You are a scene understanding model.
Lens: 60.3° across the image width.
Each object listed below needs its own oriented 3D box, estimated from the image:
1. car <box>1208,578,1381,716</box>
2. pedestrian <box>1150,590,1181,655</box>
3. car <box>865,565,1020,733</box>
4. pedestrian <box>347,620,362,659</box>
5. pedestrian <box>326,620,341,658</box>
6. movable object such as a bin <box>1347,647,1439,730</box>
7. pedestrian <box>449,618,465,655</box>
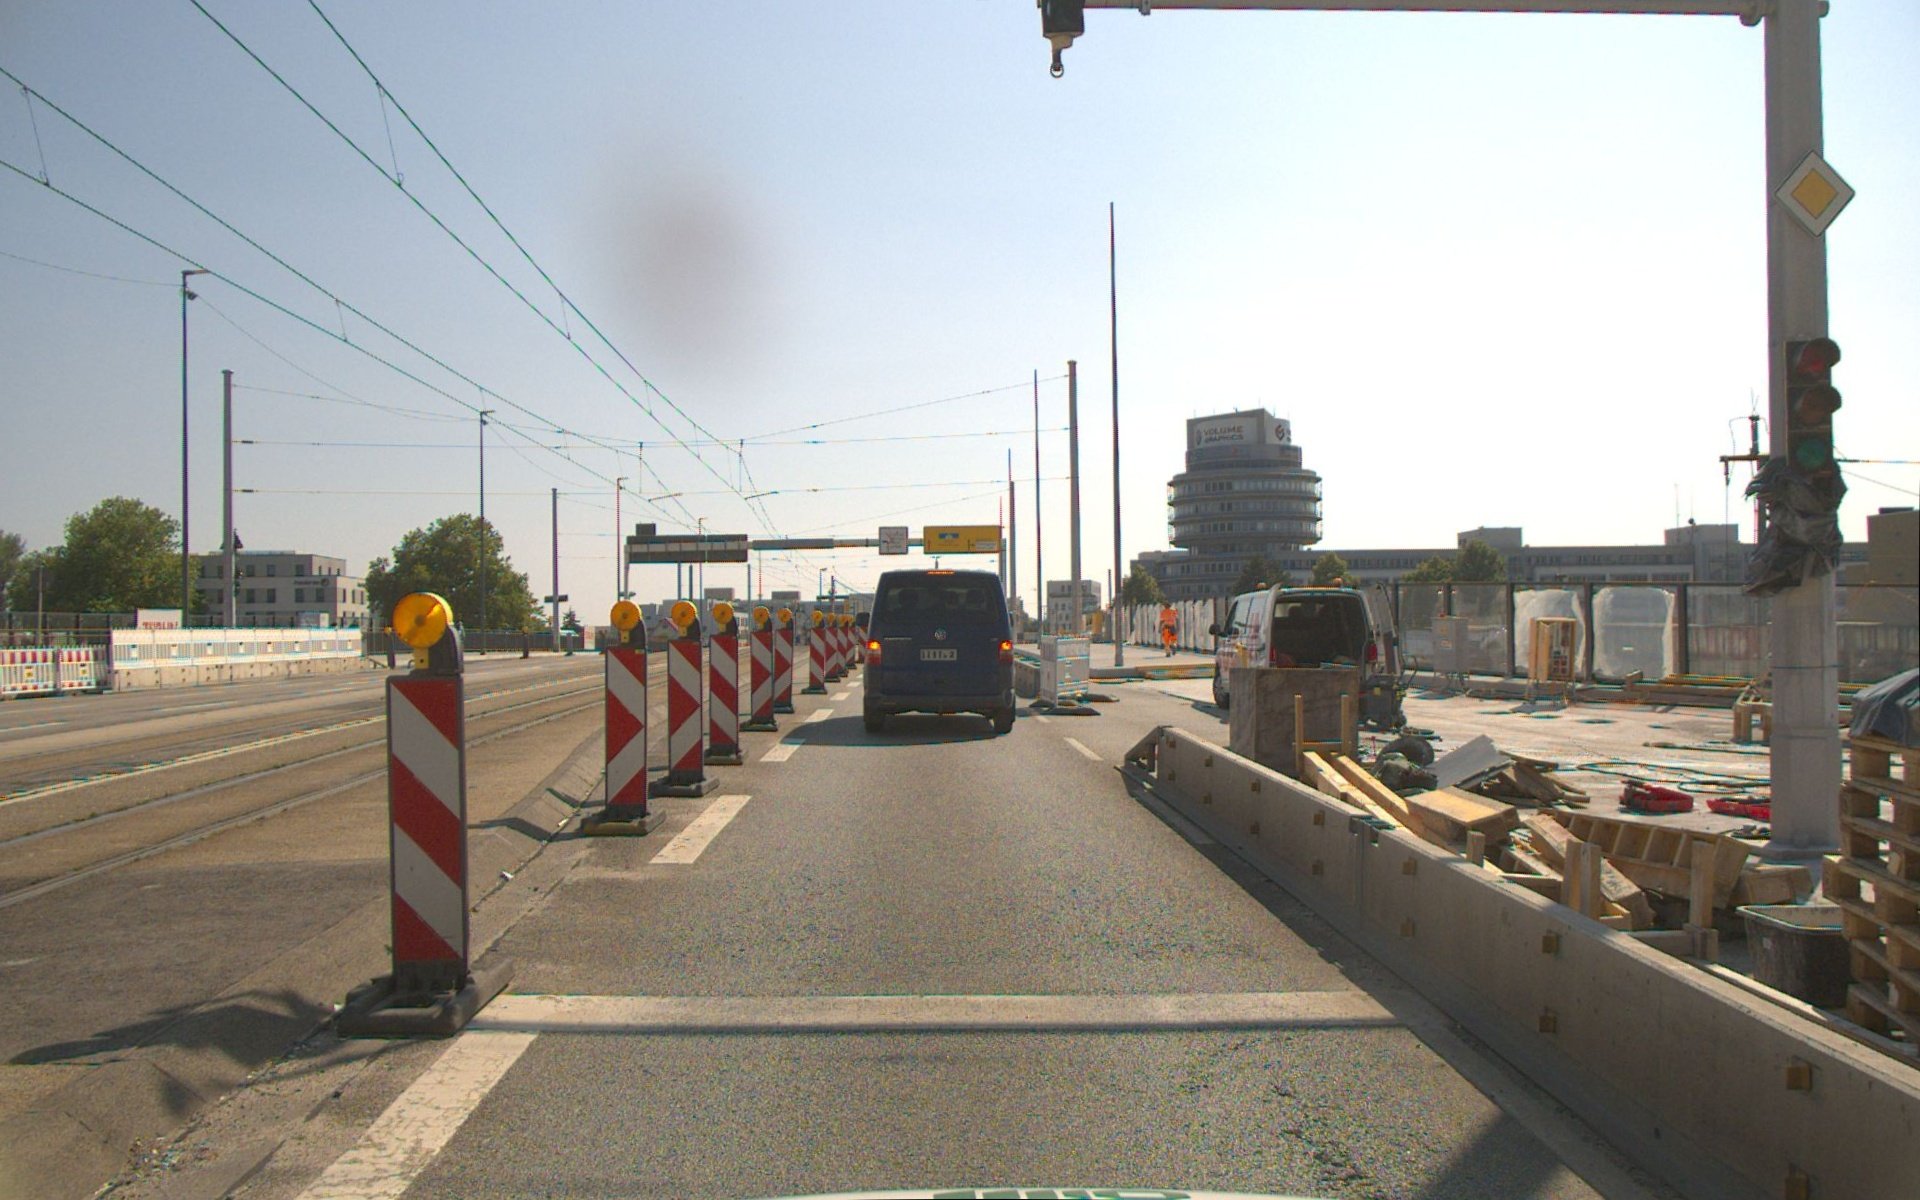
[{"bbox_3d":[5.387,0.747,27.269,1.840,2.069,4.890,0,-1,0],"label":"car"},{"bbox_3d":[6.430,0.707,51.738,0.766,1.969,0.799,-2,-2,-2],"label":"pedestrian"},{"bbox_3d":[-0.281,0.574,21.317,1.779,1.939,4.052,-1,0,-2],"label":"car"},{"bbox_3d":[-27.120,1.759,74.093,0.485,1.724,0.473,0,-2,-2],"label":"pedestrian"},{"bbox_3d":[-28.089,1.742,74.191,0.485,1.724,0.473,0,-2,-2],"label":"pedestrian"},{"bbox_3d":[6.056,1.220,23.129,0.926,1.093,0.885,-1,-1,45],"label":"movable object such as a bin"},{"bbox_3d":[-25.847,1.866,84.976,0.621,1.927,0.752,0,-1,-2],"label":"pedestrian"}]
